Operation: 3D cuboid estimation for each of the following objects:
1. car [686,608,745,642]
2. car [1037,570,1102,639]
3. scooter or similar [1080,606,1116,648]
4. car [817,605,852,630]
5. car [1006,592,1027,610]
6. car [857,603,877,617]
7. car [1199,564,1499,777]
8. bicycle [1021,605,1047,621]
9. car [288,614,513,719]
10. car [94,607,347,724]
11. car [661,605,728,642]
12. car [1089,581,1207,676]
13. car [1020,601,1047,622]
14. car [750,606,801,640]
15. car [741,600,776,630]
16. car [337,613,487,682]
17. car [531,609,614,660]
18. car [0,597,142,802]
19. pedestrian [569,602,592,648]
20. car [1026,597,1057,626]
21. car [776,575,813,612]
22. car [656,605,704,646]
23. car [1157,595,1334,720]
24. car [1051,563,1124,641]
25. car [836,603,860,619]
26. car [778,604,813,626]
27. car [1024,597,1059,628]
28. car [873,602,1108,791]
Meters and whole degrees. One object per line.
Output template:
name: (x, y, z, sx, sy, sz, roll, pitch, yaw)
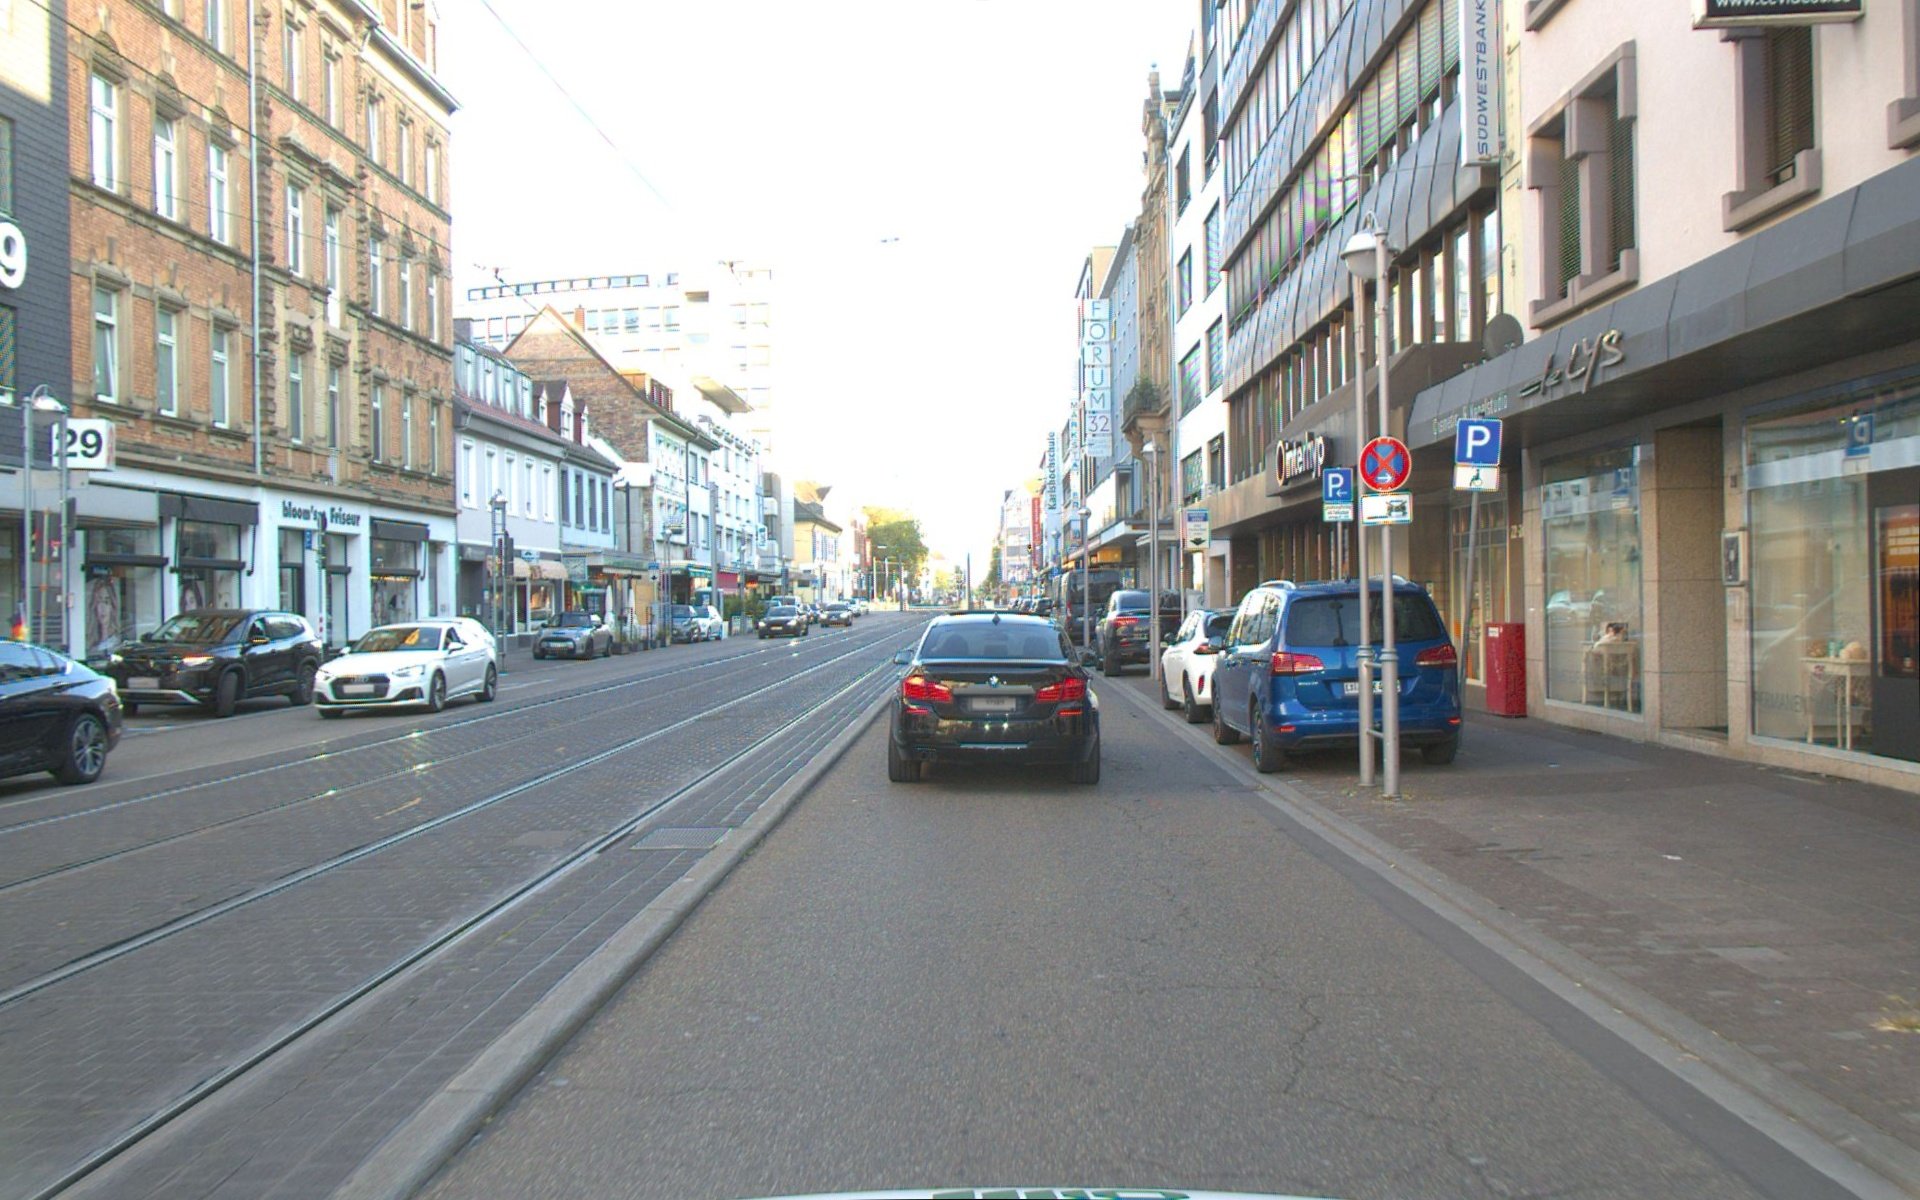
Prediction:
car: (-11.312, 1.160, 76.773, 1.952, 1.478, 4.331, -1, 0, 2)
car: (4.217, 0.162, 64.327, 1.992, 2.498, 5.408, -3, 0, -1)
scooter or similar: (4.201, 0.826, 50.242, 0.490, 1.241, 1.259, -1, 0, 38)
car: (-7.846, 1.080, 103.720, 1.656, 1.478, 4.466, -1, 0, 2)
car: (5.003, 0.074, 146.521, 1.738, 1.576, 3.503, 0, -1, 1)
car: (-10.044, 1.097, 178.563, 1.889, 1.460, 4.246, 0, 0, 1)
car: (3.716, 0.616, 16.687, 1.952, 1.757, 4.577, -3, 0, 1)
bicycle: (5.162, 0.891, 115.776, 1.822, 1.099, 0.468, -1, -2, 2)
car: (-8.927, 1.012, 26.875, 1.952, 1.478, 4.657, -1, 0, 1)
car: (-12.033, 0.999, 27.300, 1.890, 1.704, 4.648, 0, 0, 3)
car: (-11.479, 0.991, 71.814, 1.952, 1.478, 4.823, -1, 0, 2)
car: (3.851, 0.559, 34.647, 1.952, 1.757, 4.565, -3, 0, 1)
car: (5.540, 0.882, 125.029, 1.864, 1.576, 4.000, 0, -1, 1)
car: (-8.502, 1.062, 76.536, 1.953, 1.478, 4.647, -1, 0, -2)
car: (-11.960, 0.887, 98.333, 1.829, 1.714, 3.997, 0, 0, -4)
car: (-12.752, 1.066, 38.808, 1.830, 1.478, 4.611, -1, 0, 2)
car: (-11.920, 1.036, 51.071, 1.565, 1.465, 3.813, 0, 0, 1)
car: (-9.222, 0.897, 14.111, 1.952, 1.757, 4.729, -3, 0, 2)
pedestrian: (-13.901, 0.918, 60.553, 0.649, 1.673, 0.694, 0, 0, 1)
car: (4.501, 0.627, 91.699, 1.527, 1.467, 3.709, -3, 0, 0)
car: (-10.403, -0.391, 104.132, 1.953, 2.194, 4.908, -1, 0, -2)
car: (-11.349, 1.009, 67.138, 1.446, 1.605, 2.795, -1, 0, 0)
car: (3.799, 0.708, 22.623, 1.759, 1.458, 3.887, -3, 0, 1)
car: (4.411, 0.059, 58.021, 2.049, 2.498, 6.032, -2, 0, 0)
car: (-10.511, 1.038, 155.275, 1.889, 1.460, 4.246, 0, 0, 1)
car: (-11.187, 0.995, 112.957, 1.889, 1.460, 4.246, 0, 0, 1)
car: (4.230, 0.633, 86.641, 1.620, 1.564, 3.886, -2, 0, 0)
car: (0.335, 0.823, 15.710, 1.913, 1.525, 4.466, 0, -1, 2)
